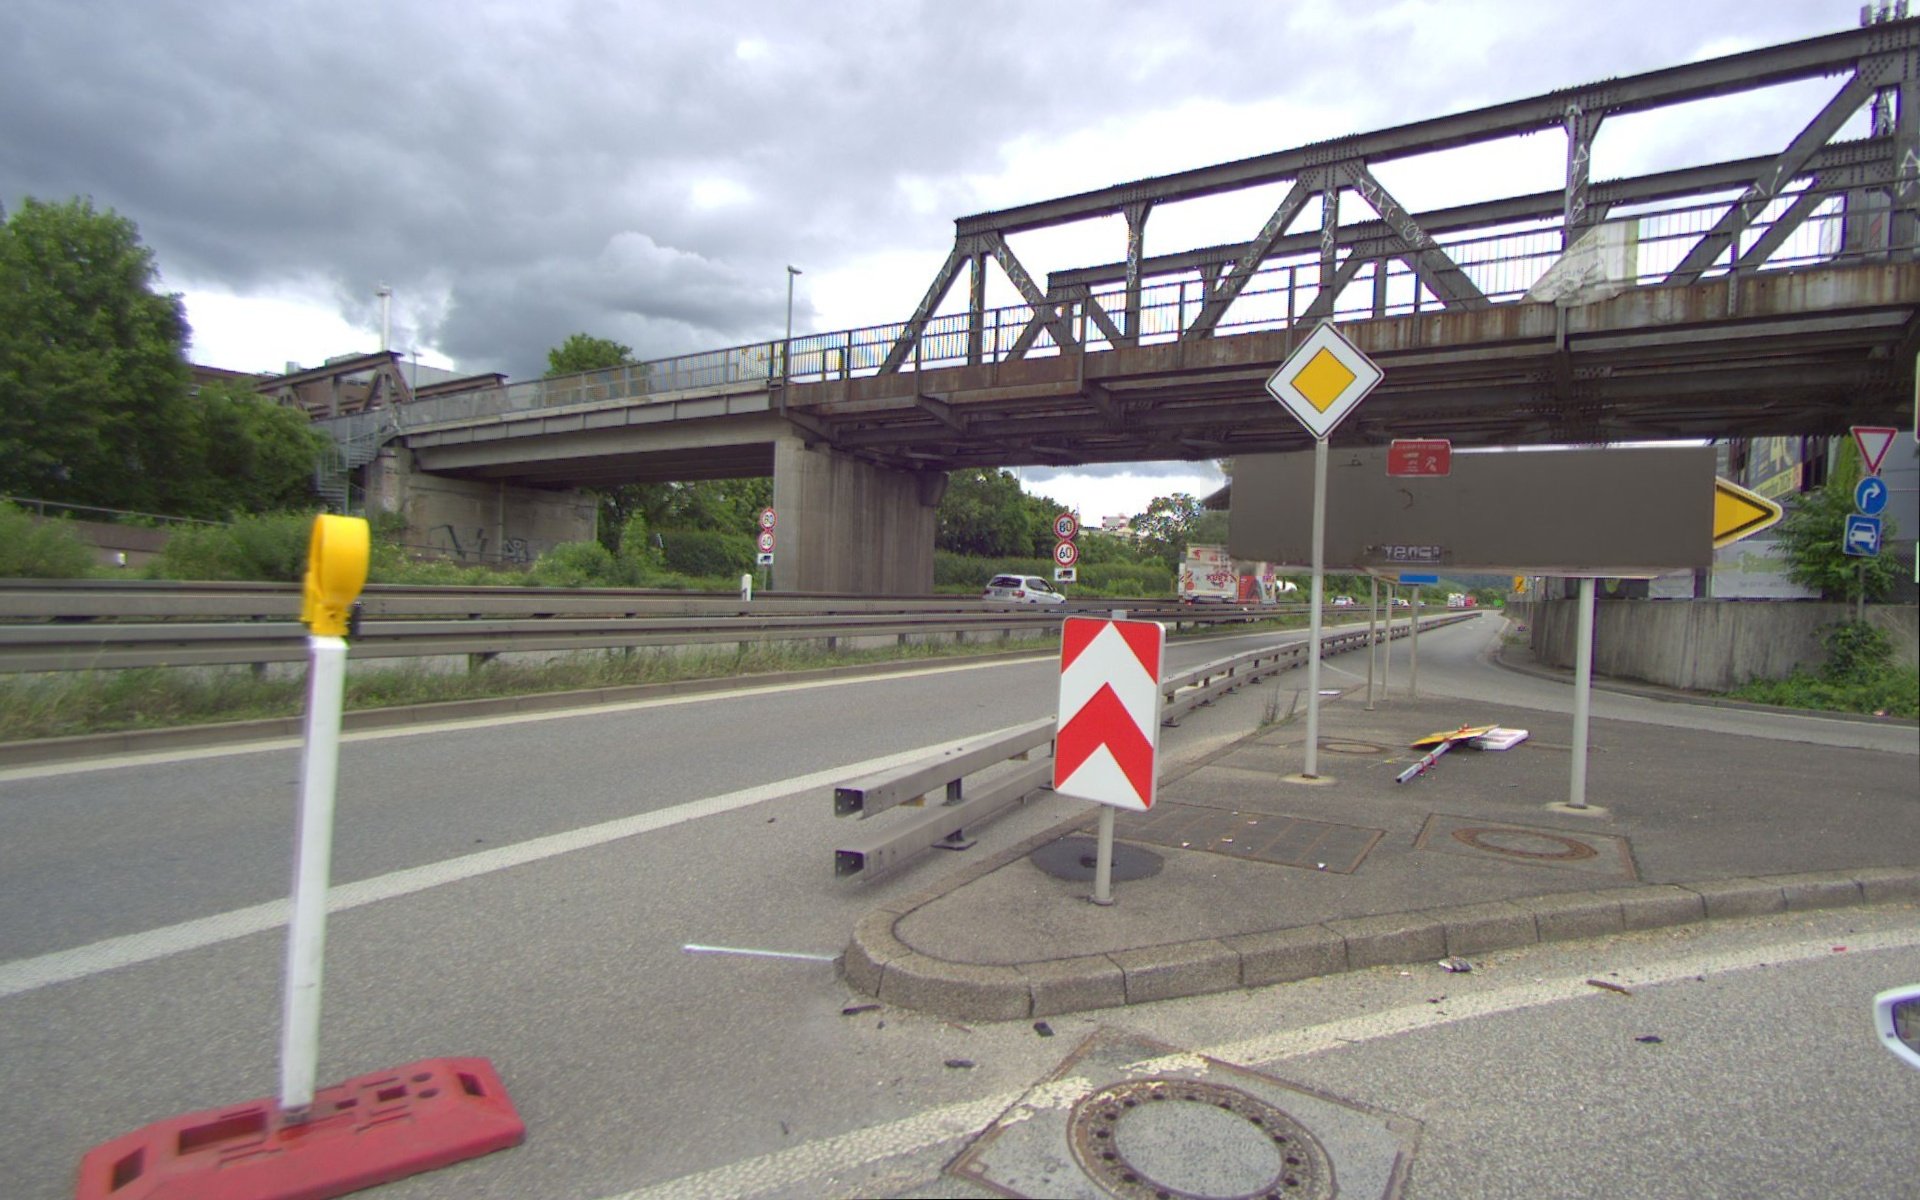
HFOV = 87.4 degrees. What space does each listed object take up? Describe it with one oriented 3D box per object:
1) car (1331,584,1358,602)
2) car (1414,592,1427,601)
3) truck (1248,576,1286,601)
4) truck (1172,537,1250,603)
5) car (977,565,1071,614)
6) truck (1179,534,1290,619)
[{"bbox_3d":[39.776,-0.728,103.809,1.964,1.783,3.993,2,0,30],"label":"car"},{"bbox_3d":[84.263,-0.624,183.938,1.753,1.617,3.742,2,1,30],"label":"car"},{"bbox_3d":[38.421,-1.401,125.594,2.462,2.884,7.235,4,1,33],"label":"truck"},{"bbox_3d":[15.190,-1.698,60.249,2.948,3.604,7.733,2,0,26],"label":"truck"},{"bbox_3d":[2.451,-0.363,37.539,1.826,1.662,4.285,4,1,28],"label":"car"},{"bbox_3d":[13.657,-1.110,49.220,2.909,3.678,10.137,3,2,28],"label":"truck"}]
